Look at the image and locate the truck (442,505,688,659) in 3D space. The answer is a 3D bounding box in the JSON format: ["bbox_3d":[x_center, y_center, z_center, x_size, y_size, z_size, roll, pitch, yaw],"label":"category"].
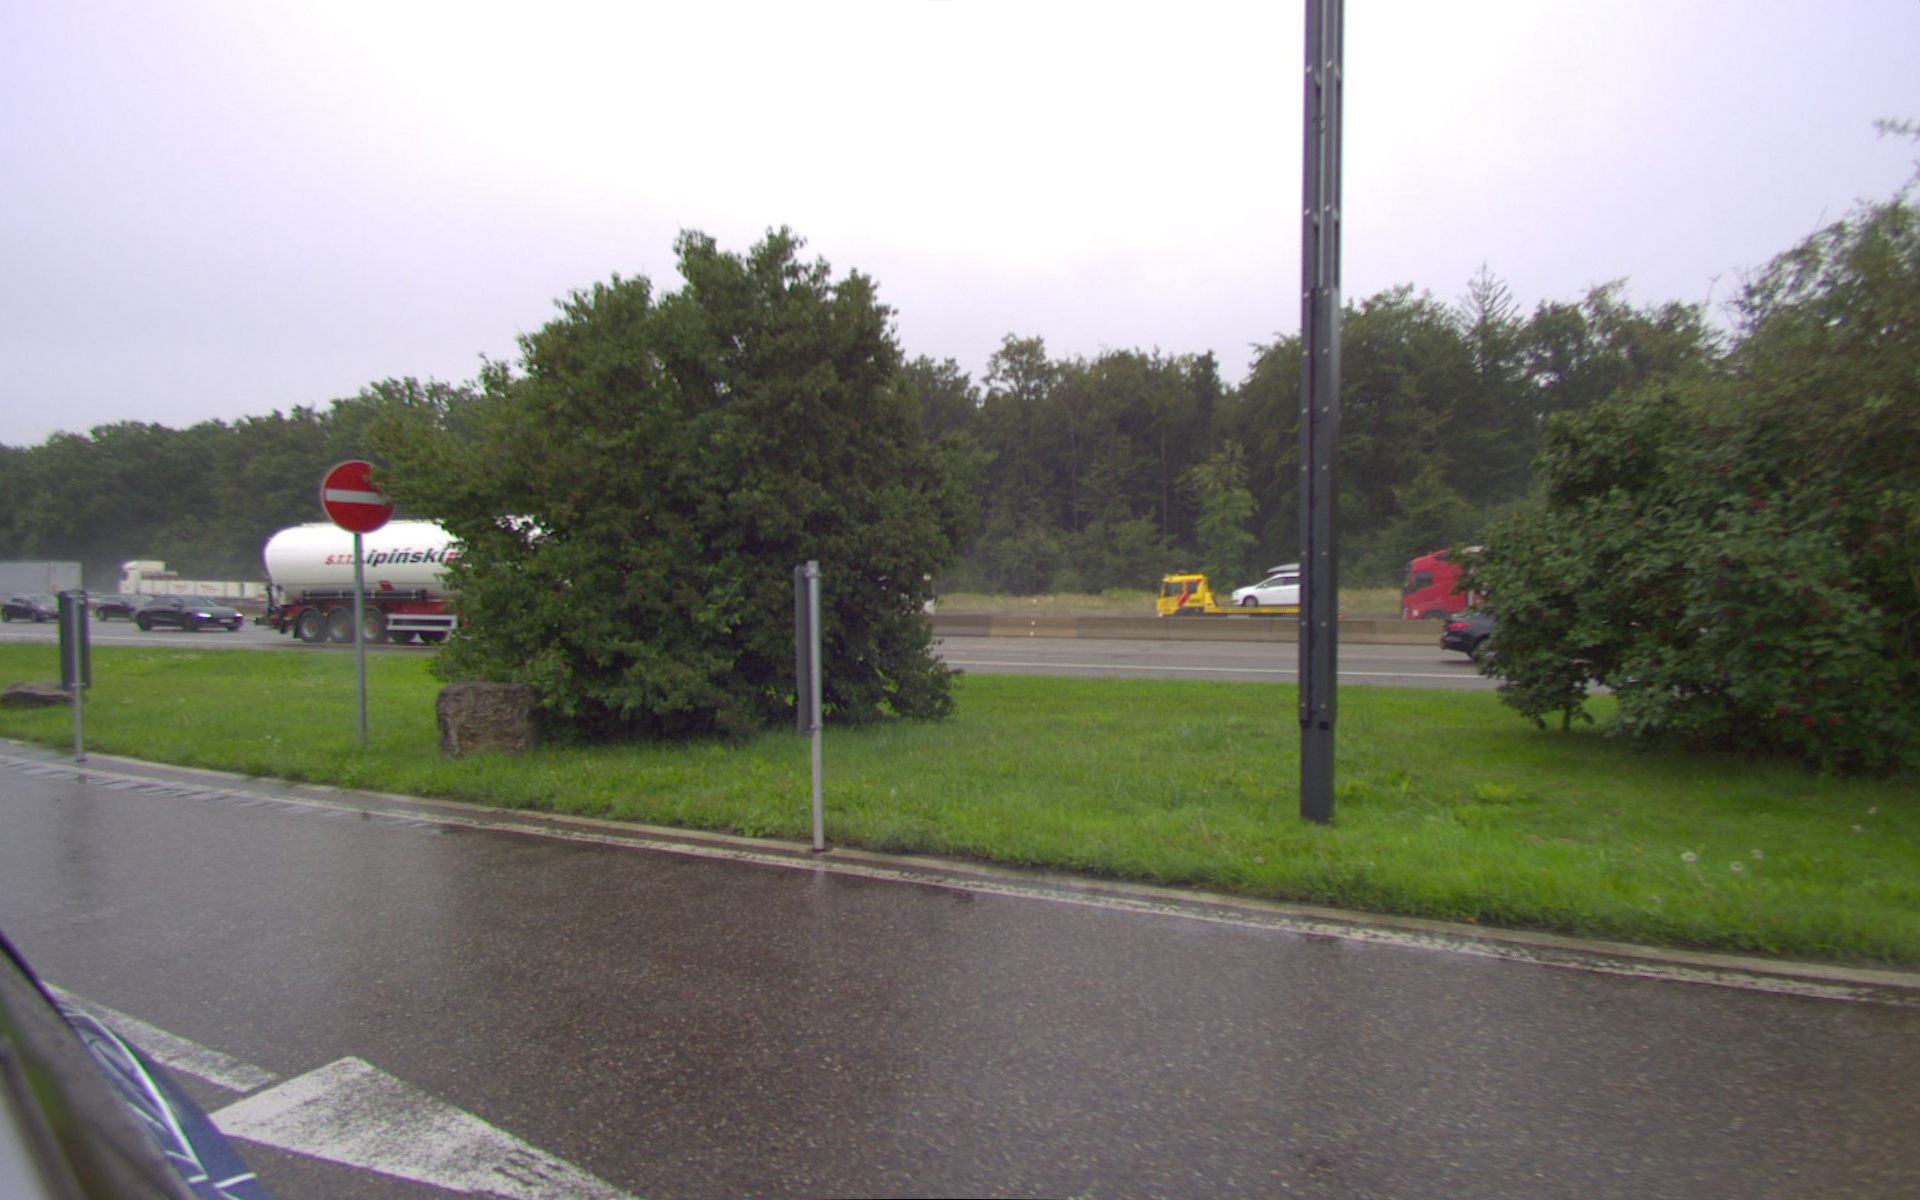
[{"bbox_3d":[-11.324,-0.475,29.051,6.463,4.038,2.739,0,1,22],"label":"truck"}]

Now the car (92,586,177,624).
[{"bbox_3d":[-45.035,0.271,55.218,3.973,2.029,1.985,0,1,22],"label":"car"}]

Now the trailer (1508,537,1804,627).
[{"bbox_3d":[30.968,-0.785,45.596,10.654,3.640,2.450,-1,3,19],"label":"trailer"}]

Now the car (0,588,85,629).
[{"bbox_3d":[-47.352,0.409,51.977,4.085,2.029,1.985,0,1,22],"label":"car"}]

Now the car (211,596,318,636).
[{"bbox_3d":[-31.453,0.732,45.792,4.370,1.681,1.812,-1,-1,20],"label":"car"}]

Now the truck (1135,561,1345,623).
[{"bbox_3d":[12.983,-0.305,47.244,9.246,2.479,2.093,-2,-4,20],"label":"truck"}]

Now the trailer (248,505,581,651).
[{"bbox_3d":[-17.021,-0.587,31.346,10.966,4.056,2.751,0,-1,22],"label":"trailer"}]

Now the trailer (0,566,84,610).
[{"bbox_3d":[-85.232,-0.992,91.903,13.974,3.564,2.712,-2,4,24],"label":"trailer"}]

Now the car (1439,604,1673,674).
[{"bbox_3d":[13.930,0.873,23.973,4.467,1.492,1.874,0,0,19],"label":"car"}]

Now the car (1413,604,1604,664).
[{"bbox_3d":[15.101,0.897,28.170,4.473,1.492,1.872,1,0,23],"label":"car"}]

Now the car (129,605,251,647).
[{"bbox_3d":[-31.783,1.071,41.800,4.471,1.589,1.986,-1,1,22],"label":"car"}]

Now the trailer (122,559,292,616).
[{"bbox_3d":[-56.115,-0.903,75.251,14.567,3.707,2.606,-1,3,21],"label":"trailer"}]

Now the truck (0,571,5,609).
[{"bbox_3d":[-92.231,-0.743,94.317,4.727,3.559,2.706,-2,4,21],"label":"truck"}]

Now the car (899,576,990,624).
[{"bbox_3d":[-0.687,-0.004,45.912,3.627,1.750,1.671,-4,4,21],"label":"car"}]

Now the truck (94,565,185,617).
[{"bbox_3d":[-63.273,-0.691,78.053,5.949,3.696,2.613,-1,3,21],"label":"truck"}]

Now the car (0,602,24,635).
[{"bbox_3d":[-64.230,1.198,66.218,5.539,2.028,1.988,1,5,20],"label":"car"}]

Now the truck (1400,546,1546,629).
[{"bbox_3d":[24.150,-0.611,47.920,5.754,3.645,2.434,-1,3,19],"label":"truck"}]
